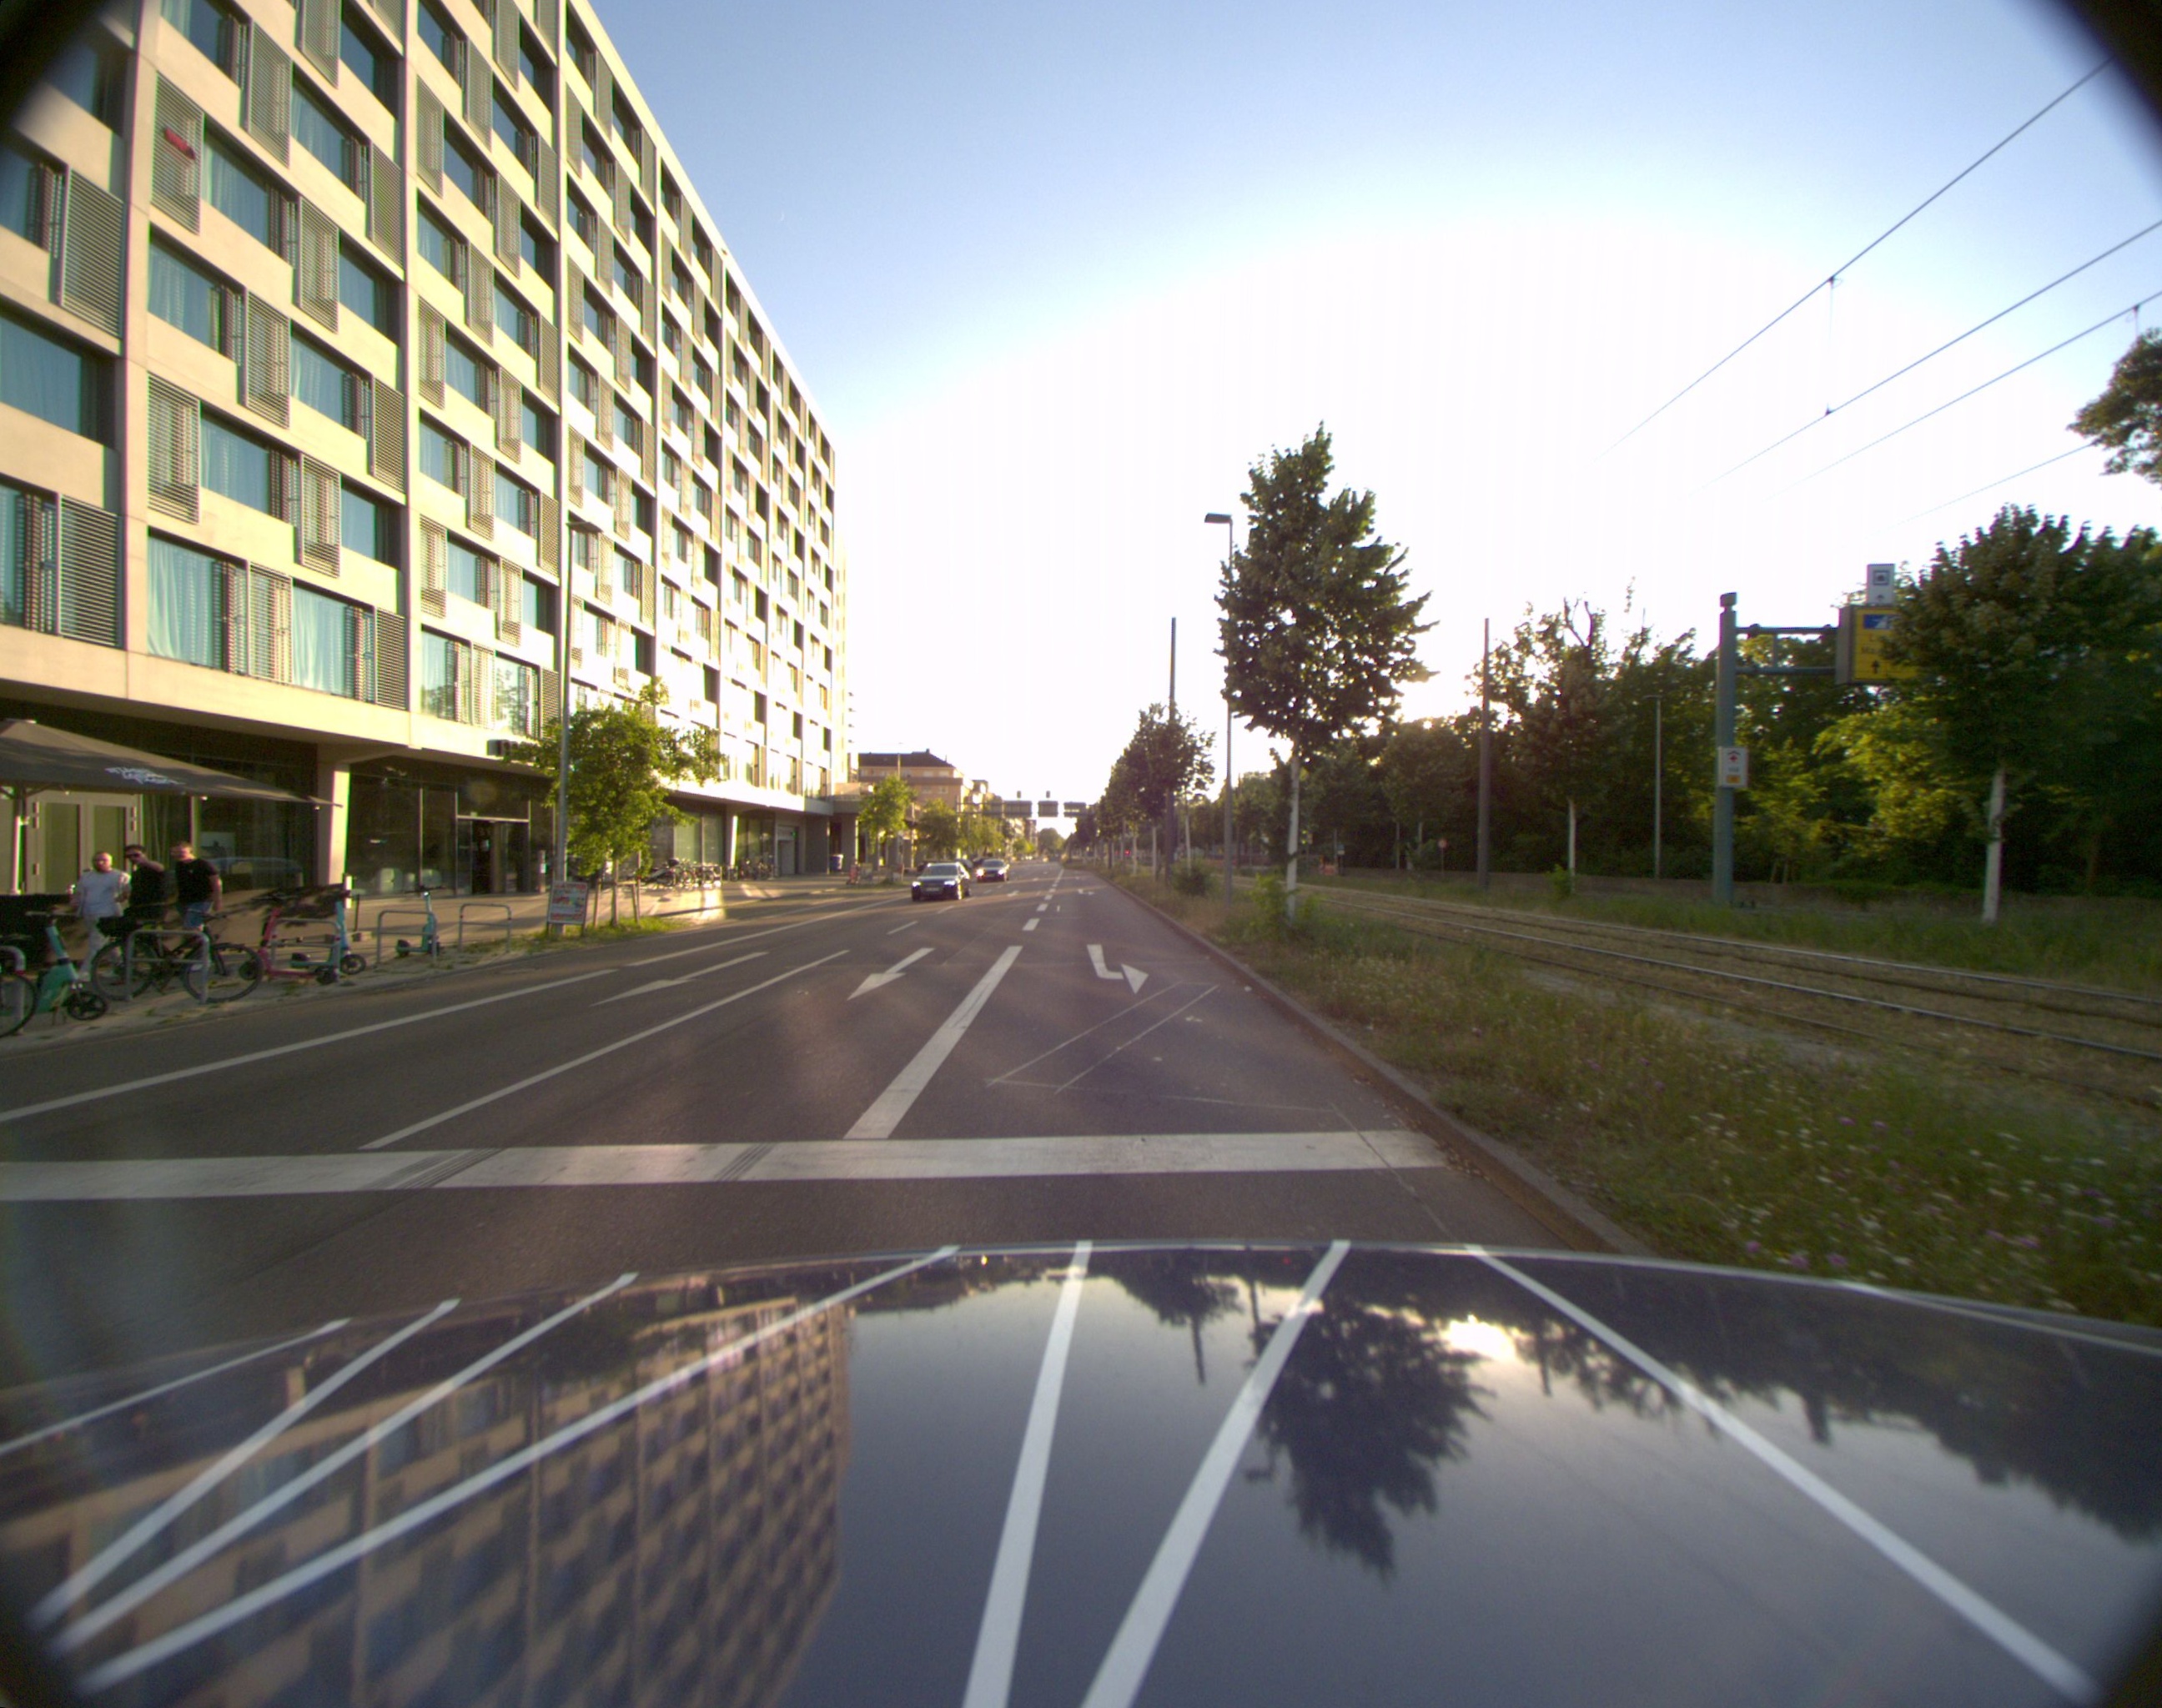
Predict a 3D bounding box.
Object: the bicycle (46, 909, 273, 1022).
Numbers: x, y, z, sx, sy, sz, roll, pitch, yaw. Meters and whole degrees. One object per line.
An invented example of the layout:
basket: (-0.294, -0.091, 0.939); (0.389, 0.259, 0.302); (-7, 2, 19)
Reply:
bicycle: (-10.770, 1.285, 8.918); (1.851, 1.175, 0.608); (2, 0, -2)

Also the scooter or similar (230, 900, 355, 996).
scooter or similar: (-10.609, 1.256, 10.248); (1.159, 1.185, 0.509); (2, 2, 1)

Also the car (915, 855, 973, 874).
car: (-12.260, 0.958, 68.088); (4.680, 1.499, 1.933); (2, 0, -41)

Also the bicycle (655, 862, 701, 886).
bicycle: (-18.010, 0.894, 33.949); (1.704, 0.980, 0.550); (2, 0, -4)

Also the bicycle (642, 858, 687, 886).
bicycle: (-18.133, 0.802, 33.105); (1.613, 1.148, 0.611); (2, 0, -13)

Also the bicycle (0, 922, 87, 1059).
bicycle: (-10.778, 1.256, 7.187); (1.799, 1.186, 0.567); (2, 0, -6)

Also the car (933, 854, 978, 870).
car: (-12.372, 0.841, 74.823); (4.000, 1.408, 1.746); (2, 0, -39)

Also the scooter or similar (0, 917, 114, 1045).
scooter or similar: (-10.746, 1.265, 7.677); (1.213, 1.194, 0.480); (2, 0, -6)

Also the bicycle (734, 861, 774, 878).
bicycle: (-18.782, 0.881, 43.688); (2.022, 0.952, 0.620); (1, 0, -7)

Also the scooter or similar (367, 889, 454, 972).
scooter or similar: (-10.981, 1.227, 12.440); (1.293, 1.211, 0.536); (3, 1, 23)

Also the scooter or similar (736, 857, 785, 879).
scooter or similar: (-17.757, 0.774, 42.128); (2.378, 1.176, 0.620); (2, 0, -2)

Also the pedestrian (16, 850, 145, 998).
pedestrian: (-12.962, 0.869, 9.861); (0.620, 1.801, 0.777); (3, 1, 8)

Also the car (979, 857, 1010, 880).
car: (-5.705, 0.940, 50.292); (1.863, 1.387, 4.275); (-2, 0, -5)

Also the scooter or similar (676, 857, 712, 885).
scooter or similar: (-17.608, 0.788, 34.594); (1.271, 1.226, 0.608); (2, 0, -5)

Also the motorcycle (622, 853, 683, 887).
motorcycle: (-18.112, 0.689, 32.177); (2.120, 1.378, 0.671); (2, 0, -15)

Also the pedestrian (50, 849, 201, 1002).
pedestrian: (-12.273, 0.873, 9.790); (0.745, 1.838, 0.941); (3, 1, 8)

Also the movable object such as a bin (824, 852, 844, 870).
movable object such as a bin: (-18.892, 0.552, 58.104); (1.108, 1.322, 1.283); (2, 0, -2)

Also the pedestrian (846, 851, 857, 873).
pedestrian: (-16.685, 0.585, 55.351); (0.578, 1.609, 0.643); (2, 0, -4)

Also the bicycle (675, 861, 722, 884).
bicycle: (-18.130, 0.857, 36.042); (1.890, 1.004, 0.565); (2, 1, -3)

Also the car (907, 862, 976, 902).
car: (-5.503, 1.071, 30.470); (1.915, 1.387, 4.276); (-2, 0, 0)

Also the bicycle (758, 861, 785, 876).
bicycle: (-18.461, 0.860, 45.282); (1.425, 0.886, 0.457); (1, 0, -2)

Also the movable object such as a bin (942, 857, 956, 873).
movable object such as a bin: (-10.994, 0.934, 63.374); (1.088, 1.294, 1.360); (2, 0, -8)

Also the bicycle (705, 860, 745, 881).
bicycle: (-18.149, 0.851, 38.736); (1.704, 0.980, 0.550); (2, 0, -4)

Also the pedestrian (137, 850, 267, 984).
pedestrian: (-12.587, 0.862, 10.909); (0.757, 1.814, 0.941); (2, 1, 8)

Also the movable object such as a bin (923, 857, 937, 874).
movable object such as a bin: (-12.544, 0.937, 63.211); (1.017, 1.339, 1.160); (3, 0, -6)

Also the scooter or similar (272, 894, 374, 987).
scooter or similar: (-10.968, 1.229, 11.002); (1.129, 1.207, 0.532); (3, 2, 14)

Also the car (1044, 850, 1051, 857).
car: (-9.094, -0.082, 204.501); (1.727, 1.910, 4.292); (-2, 0, -5)
